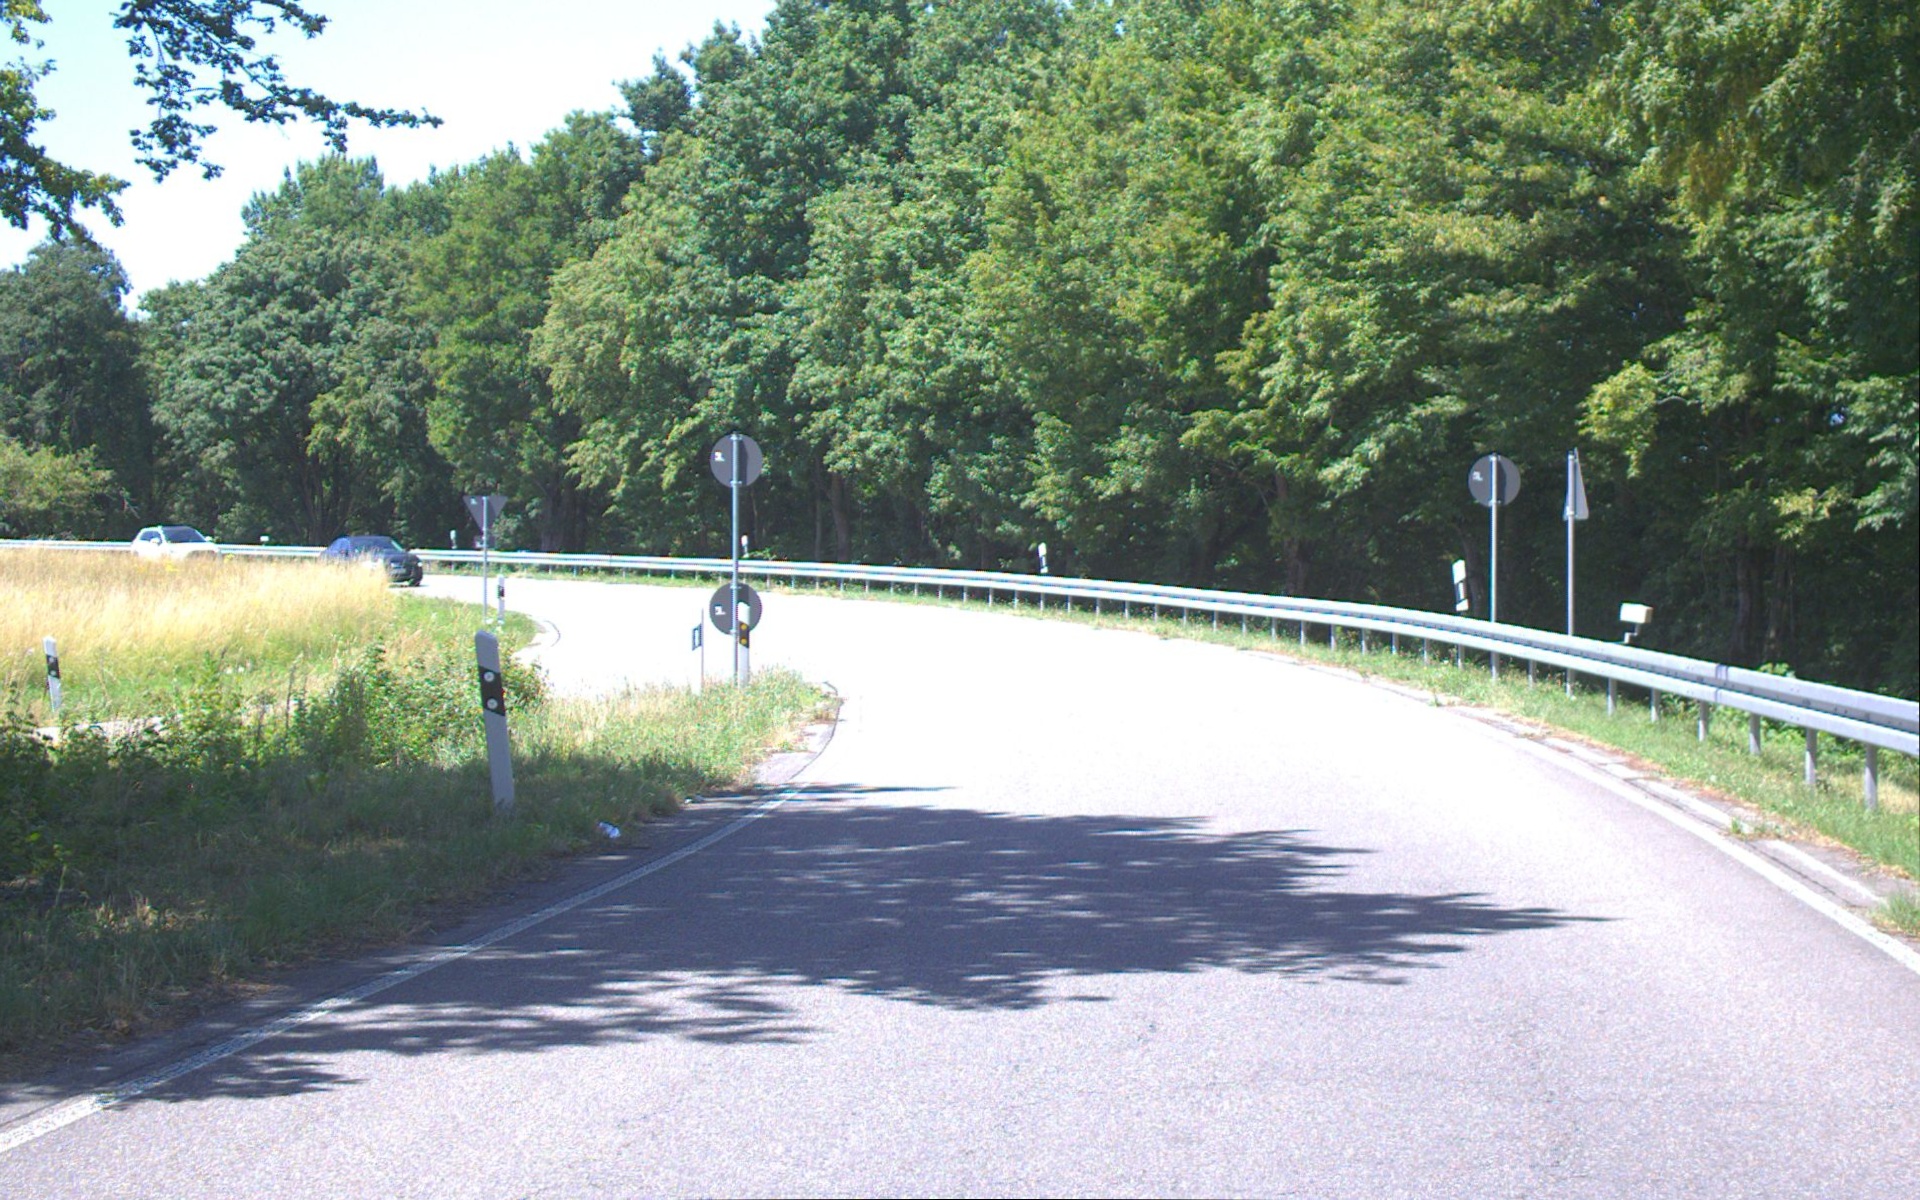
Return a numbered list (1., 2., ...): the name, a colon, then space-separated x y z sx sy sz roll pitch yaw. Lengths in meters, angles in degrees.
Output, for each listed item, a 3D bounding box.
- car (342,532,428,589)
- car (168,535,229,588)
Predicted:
1. car: -16.451 -1.125 98.175 1.802 1.501 4.659 -3 1 -16
2. car: -25.079 -1.280 113.255 1.822 1.585 4.219 -4 1 -12
